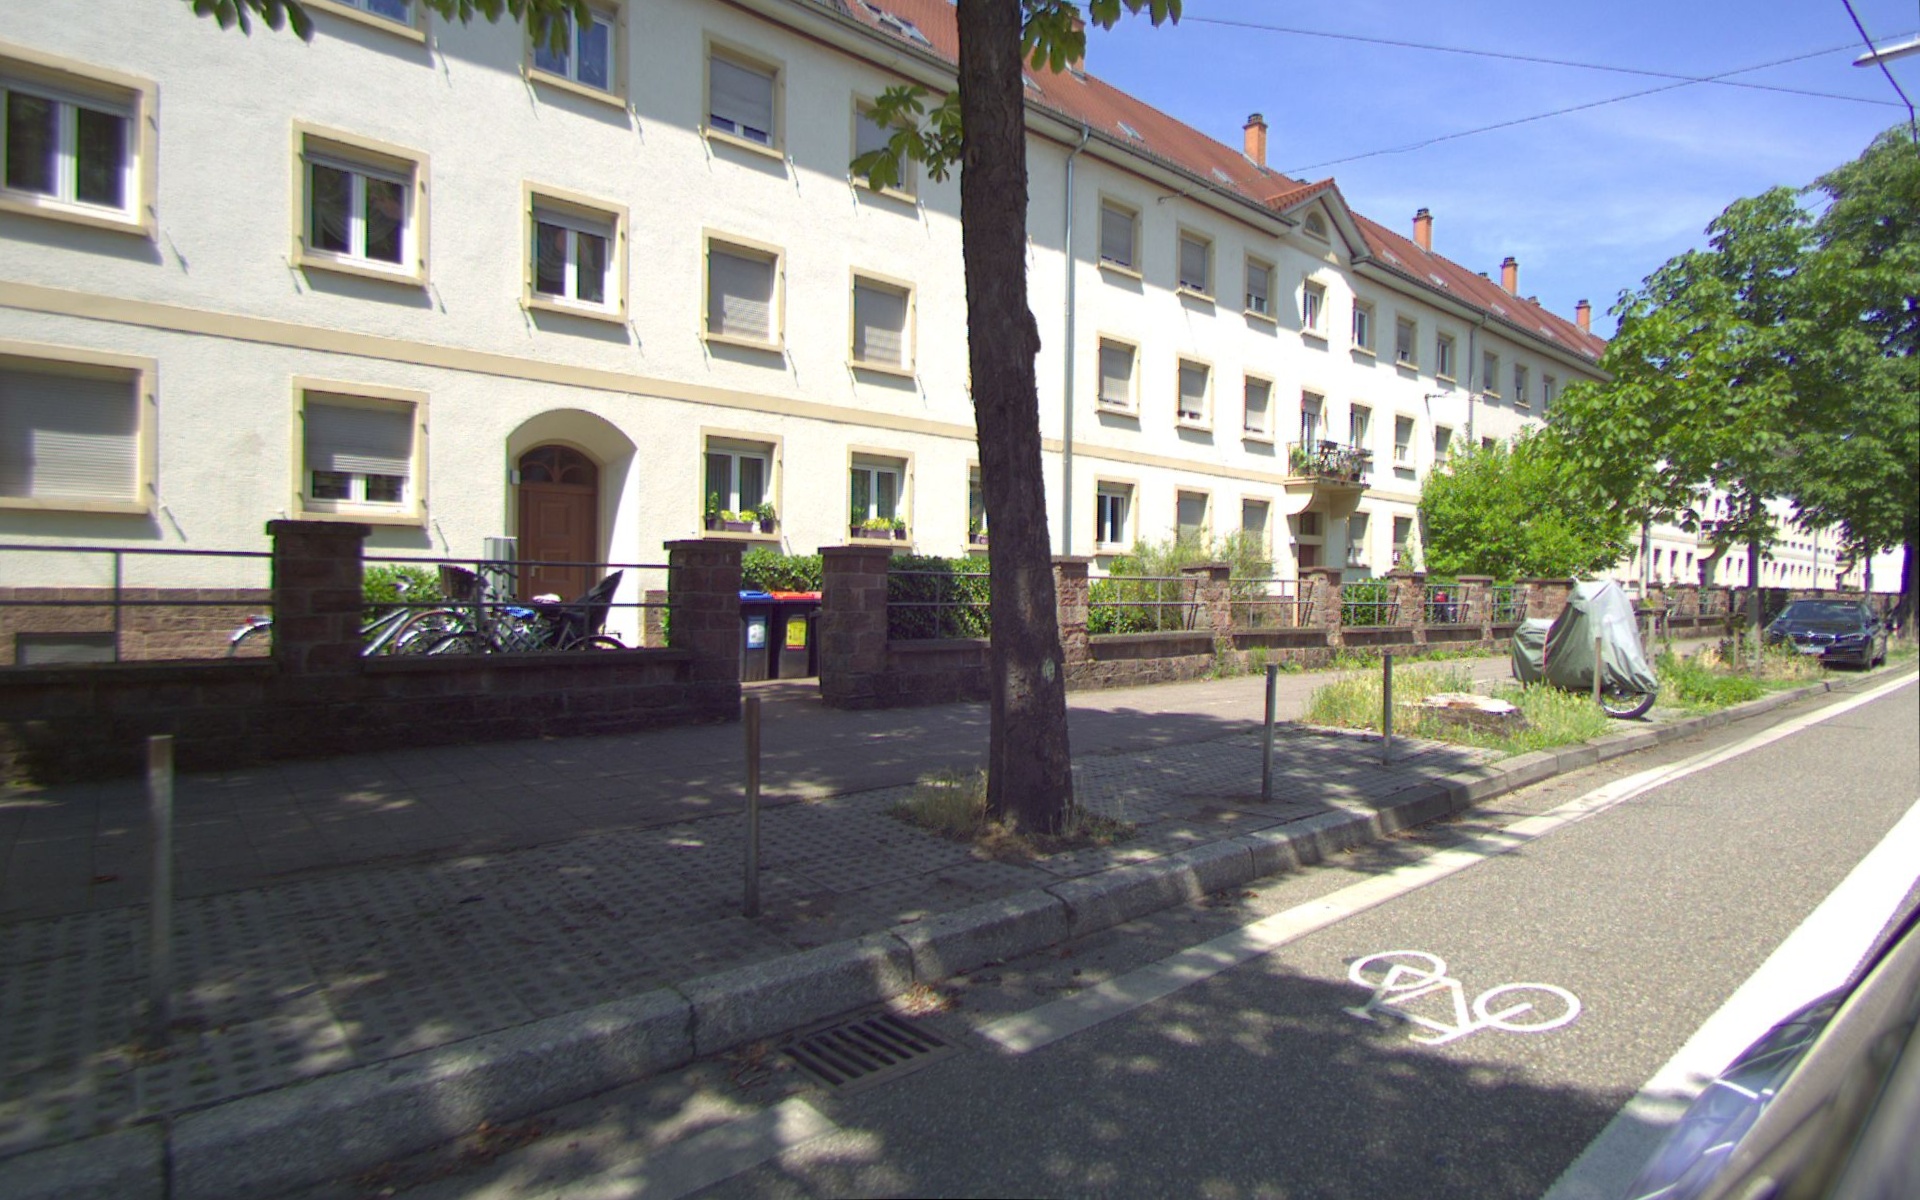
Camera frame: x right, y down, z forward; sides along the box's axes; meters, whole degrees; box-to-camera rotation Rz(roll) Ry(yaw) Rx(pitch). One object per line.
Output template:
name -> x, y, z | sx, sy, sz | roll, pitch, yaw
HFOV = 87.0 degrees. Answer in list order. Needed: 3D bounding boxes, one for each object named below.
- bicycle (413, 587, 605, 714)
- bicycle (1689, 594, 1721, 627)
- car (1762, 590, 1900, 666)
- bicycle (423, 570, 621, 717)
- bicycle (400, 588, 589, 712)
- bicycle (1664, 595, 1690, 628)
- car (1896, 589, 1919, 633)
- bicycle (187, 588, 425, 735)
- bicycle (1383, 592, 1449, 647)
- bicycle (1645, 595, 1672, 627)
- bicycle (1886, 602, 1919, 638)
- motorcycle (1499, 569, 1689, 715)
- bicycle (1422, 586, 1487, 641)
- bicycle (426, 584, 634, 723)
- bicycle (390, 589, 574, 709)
bicycle -> -4.093, 0.425, 9.252 | 1.537, 1.069, 0.460 | 0, 1, -41
bicycle -> 25.274, 0.347, 34.321 | 1.891, 1.091, 0.479 | 0, 1, -41
car -> 18.978, 0.542, 21.977 | 4.780, 1.444, 1.771 | 0, 1, -43
bicycle -> -3.846, 0.351, 8.964 | 1.537, 1.206, 0.460 | 0, 1, -41
bicycle -> -4.335, 0.431, 9.484 | 1.537, 1.069, 0.460 | 0, 1, -41
bicycle -> 24.835, 0.383, 35.057 | 0.478, 1.091, 1.894 | 1, 1, 43
car -> 33.228, 0.390, 34.475 | 4.284, 1.436, 1.696 | 0, 1, -43
bicycle -> -5.206, 0.445, 8.133 | 0.459, 1.069, 1.540 | 2, 1, 42
bicycle -> 9.788, 0.400, 21.696 | 1.773, 1.116, 0.500 | 0, 1, -38
bicycle -> 24.461, 0.366, 35.433 | 0.478, 1.091, 1.894 | 1, 1, 43
bicycle -> 29.905, 0.641, 31.443 | 1.652, 1.091, 0.597 | 2, 1, 43
motorcycle -> 7.449, 0.442, 12.067 | 0.853, 1.560, 2.319 | 1, 0, 2
bicycle -> 10.430, 0.271, 21.343 | 1.773, 1.116, 0.500 | 0, 1, -38
bicycle -> -3.580, 0.413, 8.499 | 1.537, 1.069, 0.460 | 0, 1, -41
bicycle -> -4.589, 0.437, 9.772 | 1.537, 1.069, 0.460 | 0, 1, -41
